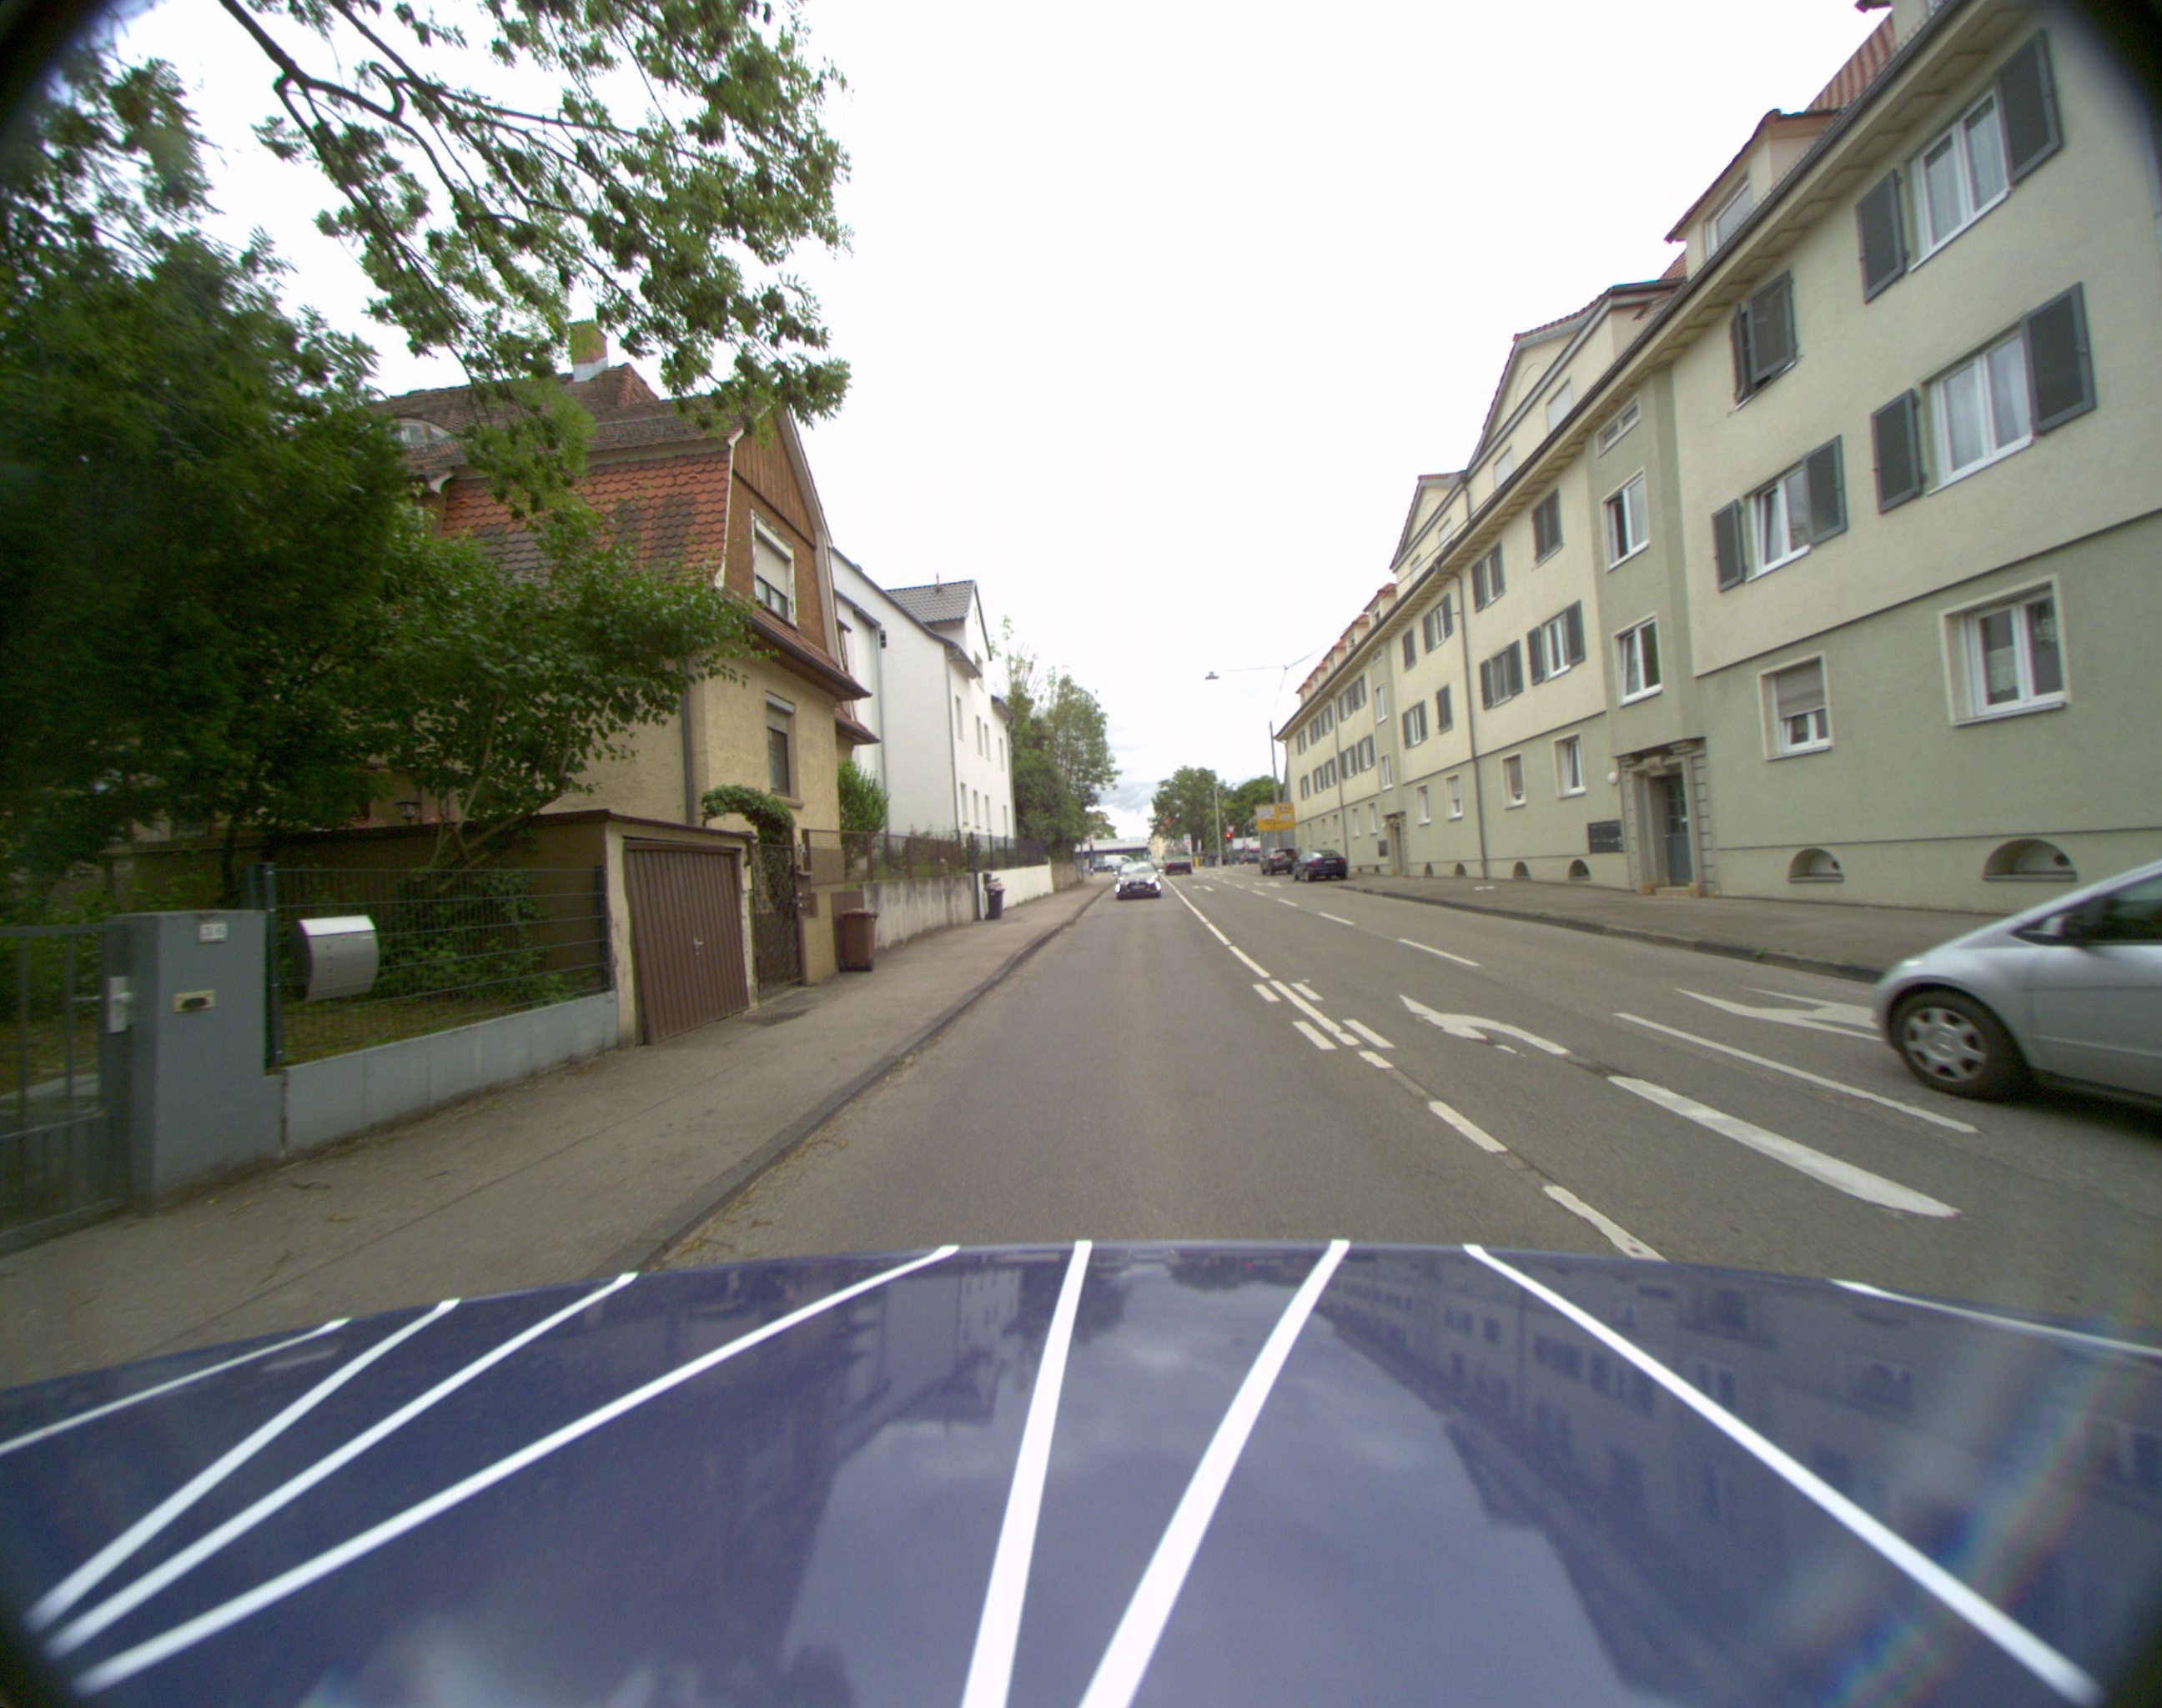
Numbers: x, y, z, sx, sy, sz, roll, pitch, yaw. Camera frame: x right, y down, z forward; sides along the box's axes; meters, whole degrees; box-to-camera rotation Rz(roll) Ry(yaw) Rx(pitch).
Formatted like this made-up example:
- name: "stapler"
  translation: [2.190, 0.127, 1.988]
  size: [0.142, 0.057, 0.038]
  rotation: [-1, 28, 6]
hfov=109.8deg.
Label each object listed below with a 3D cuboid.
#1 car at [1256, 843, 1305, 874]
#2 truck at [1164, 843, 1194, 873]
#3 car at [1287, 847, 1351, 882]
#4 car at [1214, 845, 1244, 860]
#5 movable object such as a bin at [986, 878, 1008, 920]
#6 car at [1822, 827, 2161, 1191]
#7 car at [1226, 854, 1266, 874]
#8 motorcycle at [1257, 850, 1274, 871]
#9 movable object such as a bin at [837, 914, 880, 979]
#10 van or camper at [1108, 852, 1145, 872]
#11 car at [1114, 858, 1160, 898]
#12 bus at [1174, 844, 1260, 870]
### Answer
- name: "car"
  translation: [11.995, 0.257, 45.986]
  size: [1.826, 1.623, 4.697]
  rotation: [-5, 0, 3]
- name: "truck"
  translation: [8.036, 0.315, 62.862]
  size: [2.125, 2.188, 6.592]
  rotation: [-3, 0, 6]
- name: "car"
  translation: [10.952, 0.440, 35.274]
  size: [1.714, 1.395, 4.847]
  rotation: [-4, 0, 4]
- name: "car"
  translation: [22.069, -0.215, 113.623]
  size: [3.997, 2.177, 2.000]
  rotation: [-2, 0, 0]
- name: "movable object such as a bin"
  translation: [-2.402, 1.276, 21.815]
  size: [0.529, 1.171, 0.634]
  rotation: [0, 1, 4]
- name: "car"
  translation: [5.694, 0.684, 2.990]
  size: [1.726, 1.595, 3.977]
  rotation: [-3, 0, 2]
- name: "car"
  translation: [18.467, 1.075, 85.237]
  size: [3.996, 2.002, 2.000]
  rotation: [-3, 0, 2]
- name: "motorcycle"
  translation: [12.365, 0.420, 51.064]
  size: [0.626, 1.283, 2.230]
  rotation: [-5, 0, 3]
- name: "movable object such as a bin"
  translation: [-3.361, 1.391, 11.508]
  size: [0.462, 0.919, 0.566]
  rotation: [0, 1, 4]
- name: "van or camper"
  translation: [5.215, 0.865, 86.621]
  size: [4.050, 2.002, 2.001]
  rotation: [-3, 0, 5]
- name: "car"
  translation: [2.284, 0.903, 30.273]
  size: [1.645, 1.390, 3.783]
  rotation: [-3, 0, 5]
- name: "bus"
  translation: [19.423, 0.406, 108.861]
  size: [11.842, 3.043, 2.002]
  rotation: [-3, -2, 8]
